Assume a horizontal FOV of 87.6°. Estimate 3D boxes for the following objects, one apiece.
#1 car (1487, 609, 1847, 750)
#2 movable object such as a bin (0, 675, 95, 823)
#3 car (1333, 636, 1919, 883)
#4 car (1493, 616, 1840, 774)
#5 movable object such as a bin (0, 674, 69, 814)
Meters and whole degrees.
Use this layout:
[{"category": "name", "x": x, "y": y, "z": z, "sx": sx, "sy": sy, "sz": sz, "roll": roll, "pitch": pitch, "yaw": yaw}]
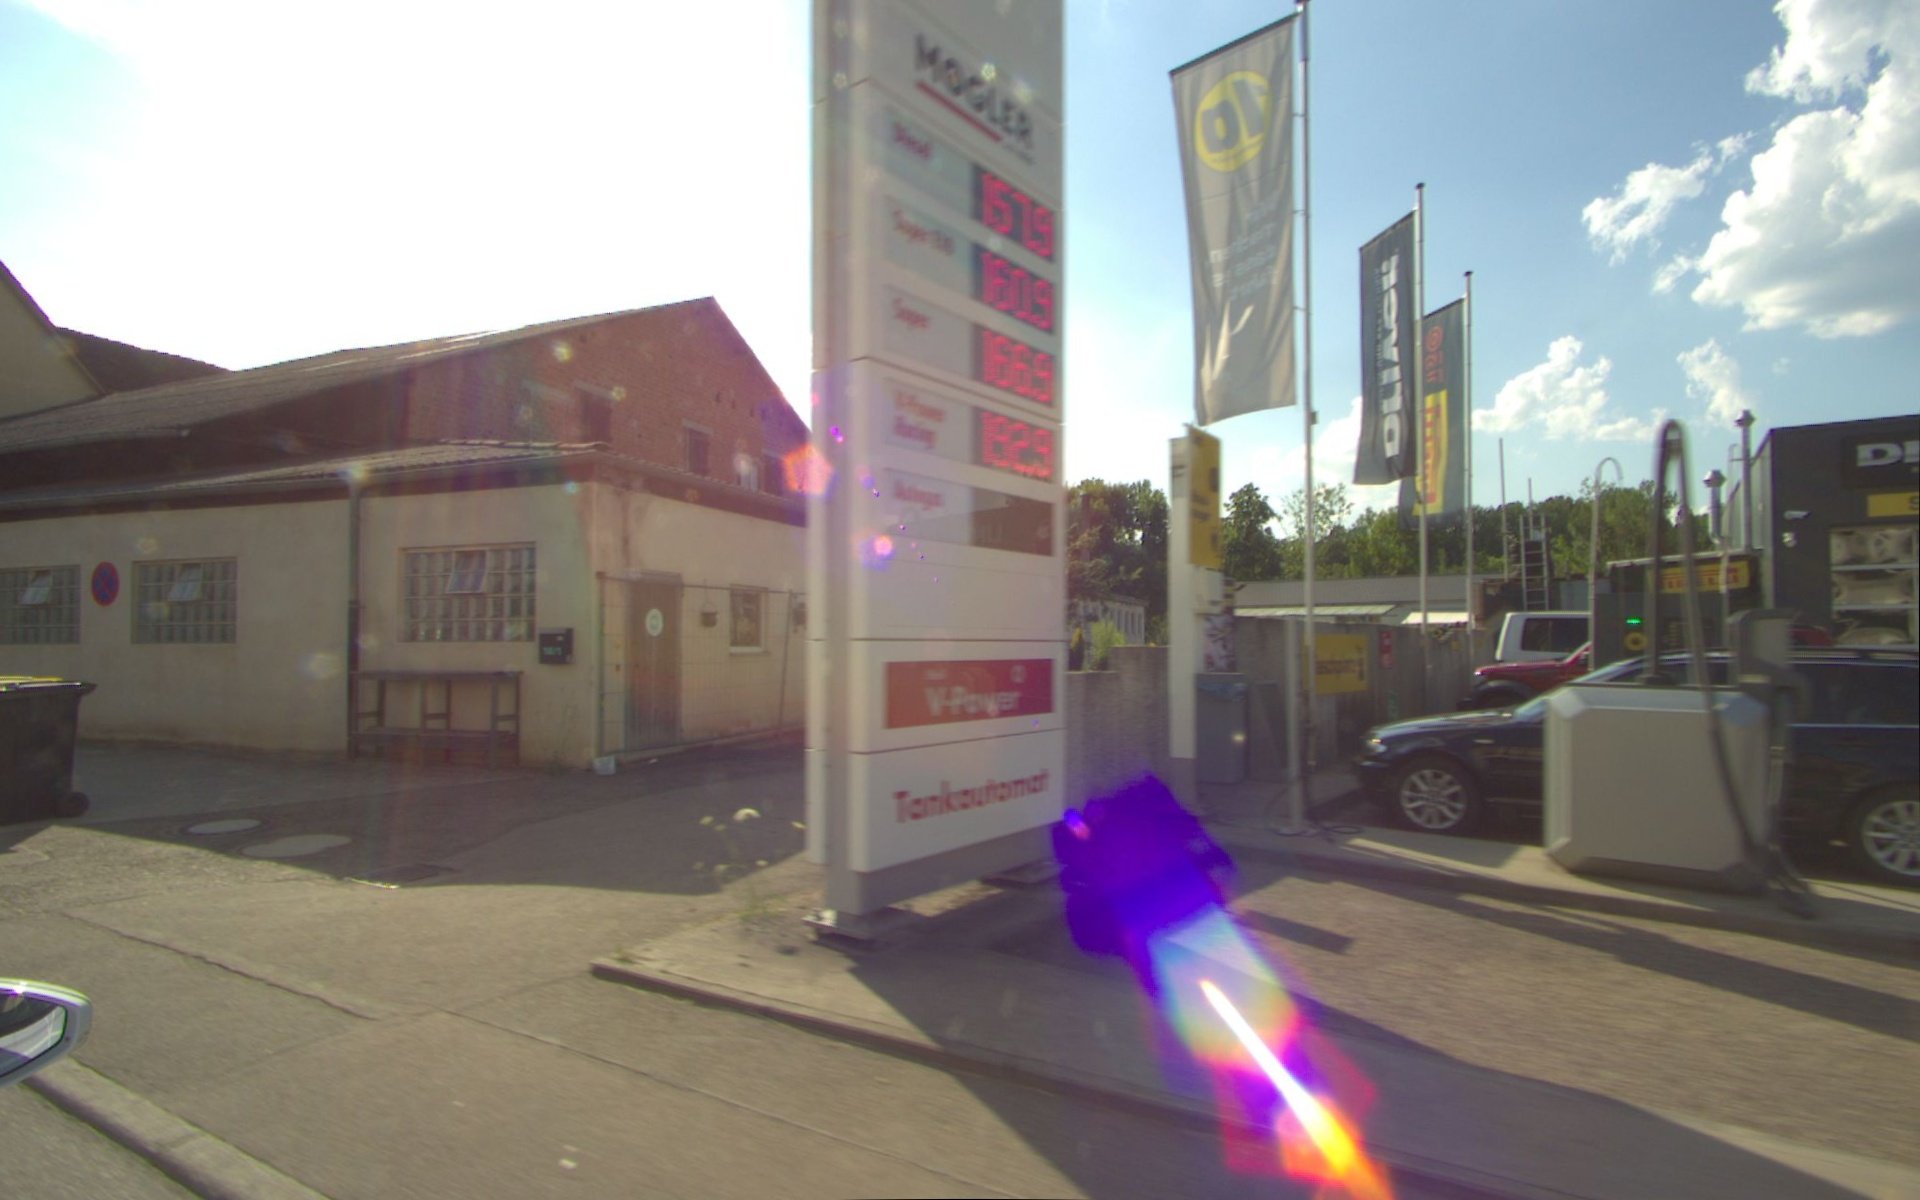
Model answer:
[{"category": "car", "x": 11.053, "y": 1.138, "z": 15.952, "sx": 4.495, "sy": 1.949, "sz": 1.572, "roll": 0, "pitch": -1, "yaw": 38}, {"category": "movable object such as a bin", "x": -7.334, "y": 1.148, "z": 7.889, "sx": 0.506, "sy": 1.087, "sz": 0.652, "roll": 0, "pitch": -1, "yaw": 32}, {"category": "car", "x": 5.147, "y": 1.012, "z": 7.299, "sx": 4.320, "sy": 1.445, "sz": 1.575, "roll": -1, "pitch": -3, "yaw": 34}, {"category": "car", "x": 9.242, "y": 1.136, "z": 13.318, "sx": 3.586, "sy": 1.816, "sz": 1.572, "roll": 0, "pitch": -1, "yaw": 38}, {"category": "movable object such as a bin", "x": -7.798, "y": 1.161, "z": 8.184, "sx": 0.506, "sy": 1.087, "sz": 0.652, "roll": 0, "pitch": -1, "yaw": 32}]
